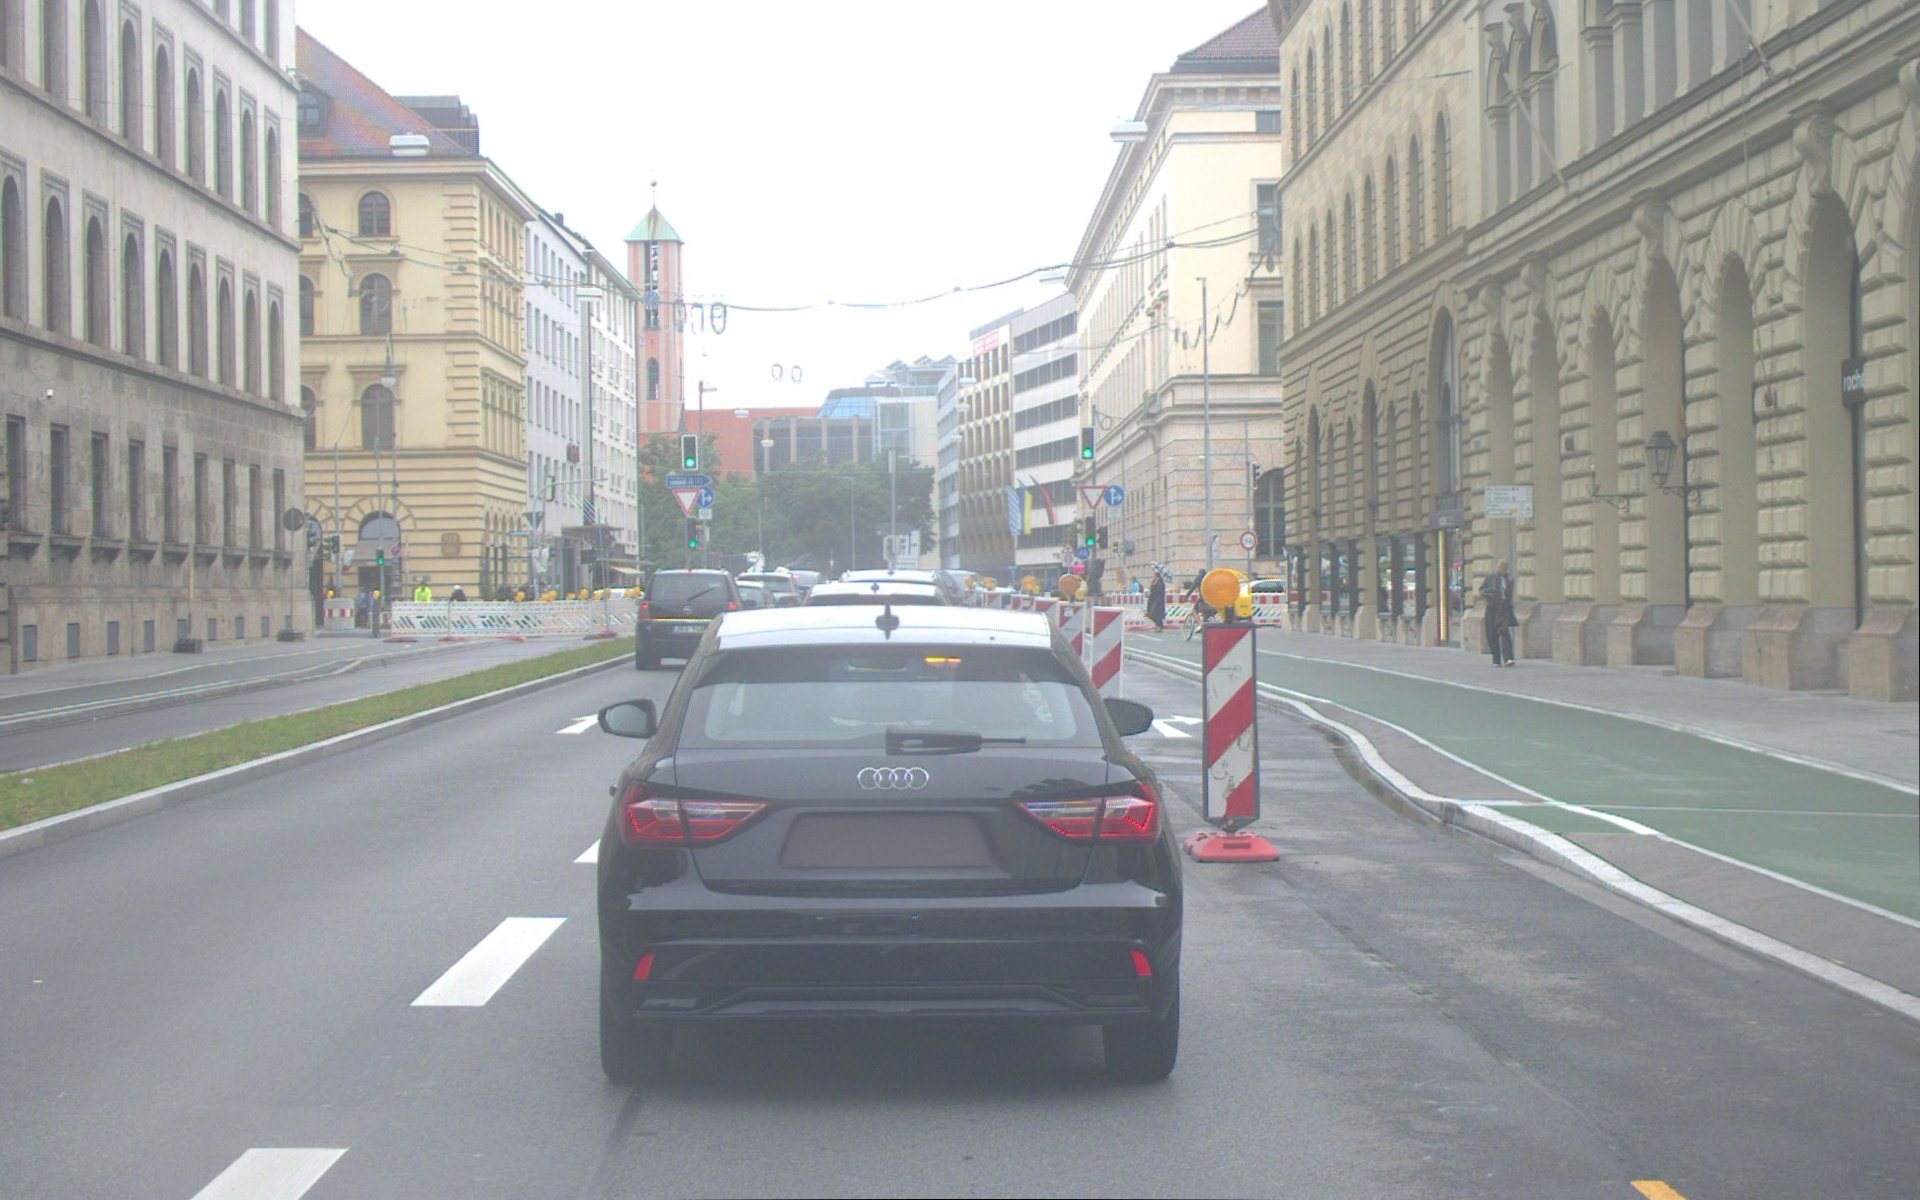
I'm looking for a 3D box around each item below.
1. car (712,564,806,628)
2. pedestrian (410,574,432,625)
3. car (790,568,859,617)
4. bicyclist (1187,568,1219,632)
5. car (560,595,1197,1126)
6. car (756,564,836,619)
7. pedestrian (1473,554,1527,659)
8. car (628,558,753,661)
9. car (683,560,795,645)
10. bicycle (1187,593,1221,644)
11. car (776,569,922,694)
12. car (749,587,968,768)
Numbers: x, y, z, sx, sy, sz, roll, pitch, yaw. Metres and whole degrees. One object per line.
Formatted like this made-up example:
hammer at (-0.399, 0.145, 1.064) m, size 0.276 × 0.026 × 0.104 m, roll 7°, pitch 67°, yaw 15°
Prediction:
car at (-4.693, -0.110, 80.667) m, size 1.993 × 1.439 × 4.000 m, roll -1°, pitch 0°, yaw 0°
pedestrian at (-18.952, -0.023, 120.821) m, size 0.656 × 1.799 × 0.727 m, roll -1°, pitch 0°, yaw -1°
car at (-4.145, -0.242, 105.535) m, size 1.993 × 1.439 × 4.000 m, roll -1°, pitch 0°, yaw 0°
bicyclist at (5.738, -0.011, 81.070) m, size 0.710 × 1.495 × 0.754 m, roll -1°, pitch 0°, yaw 1°
car at (-0.254, 0.713, 11.431) m, size 1.730 × 1.398 × 4.000 m, roll 1°, pitch 1°, yaw -1°
car at (-4.405, -0.240, 92.888) m, size 1.993 × 1.439 × 4.000 m, roll -1°, pitch 0°, yaw 0°
pedestrian at (8.450, 0.099, 53.820) m, size 0.710 × 1.612 × 0.754 m, roll -1°, pitch 0°, yaw -1°
car at (-4.339, 0.128, 55.883) m, size 1.764 × 1.610 × 4.030 m, roll 1°, pitch 1°, yaw -1°
car at (-4.365, 0.036, 68.431) m, size 1.993 × 1.622 × 4.000 m, roll -1°, pitch 0°, yaw 0°
bicycle at (5.742, 0.433, 80.969) m, size 0.728 × 1.152 × 2.172 m, roll -1°, pitch 0°, yaw 2°
car at (-1.355, 0.357, 43.029) m, size 1.730 × 1.456 × 4.000 m, roll 1°, pitch 1°, yaw -1°
car at (-0.844, 0.610, 29.500) m, size 1.730 × 1.398 × 4.000 m, roll 1°, pitch 1°, yaw -1°
